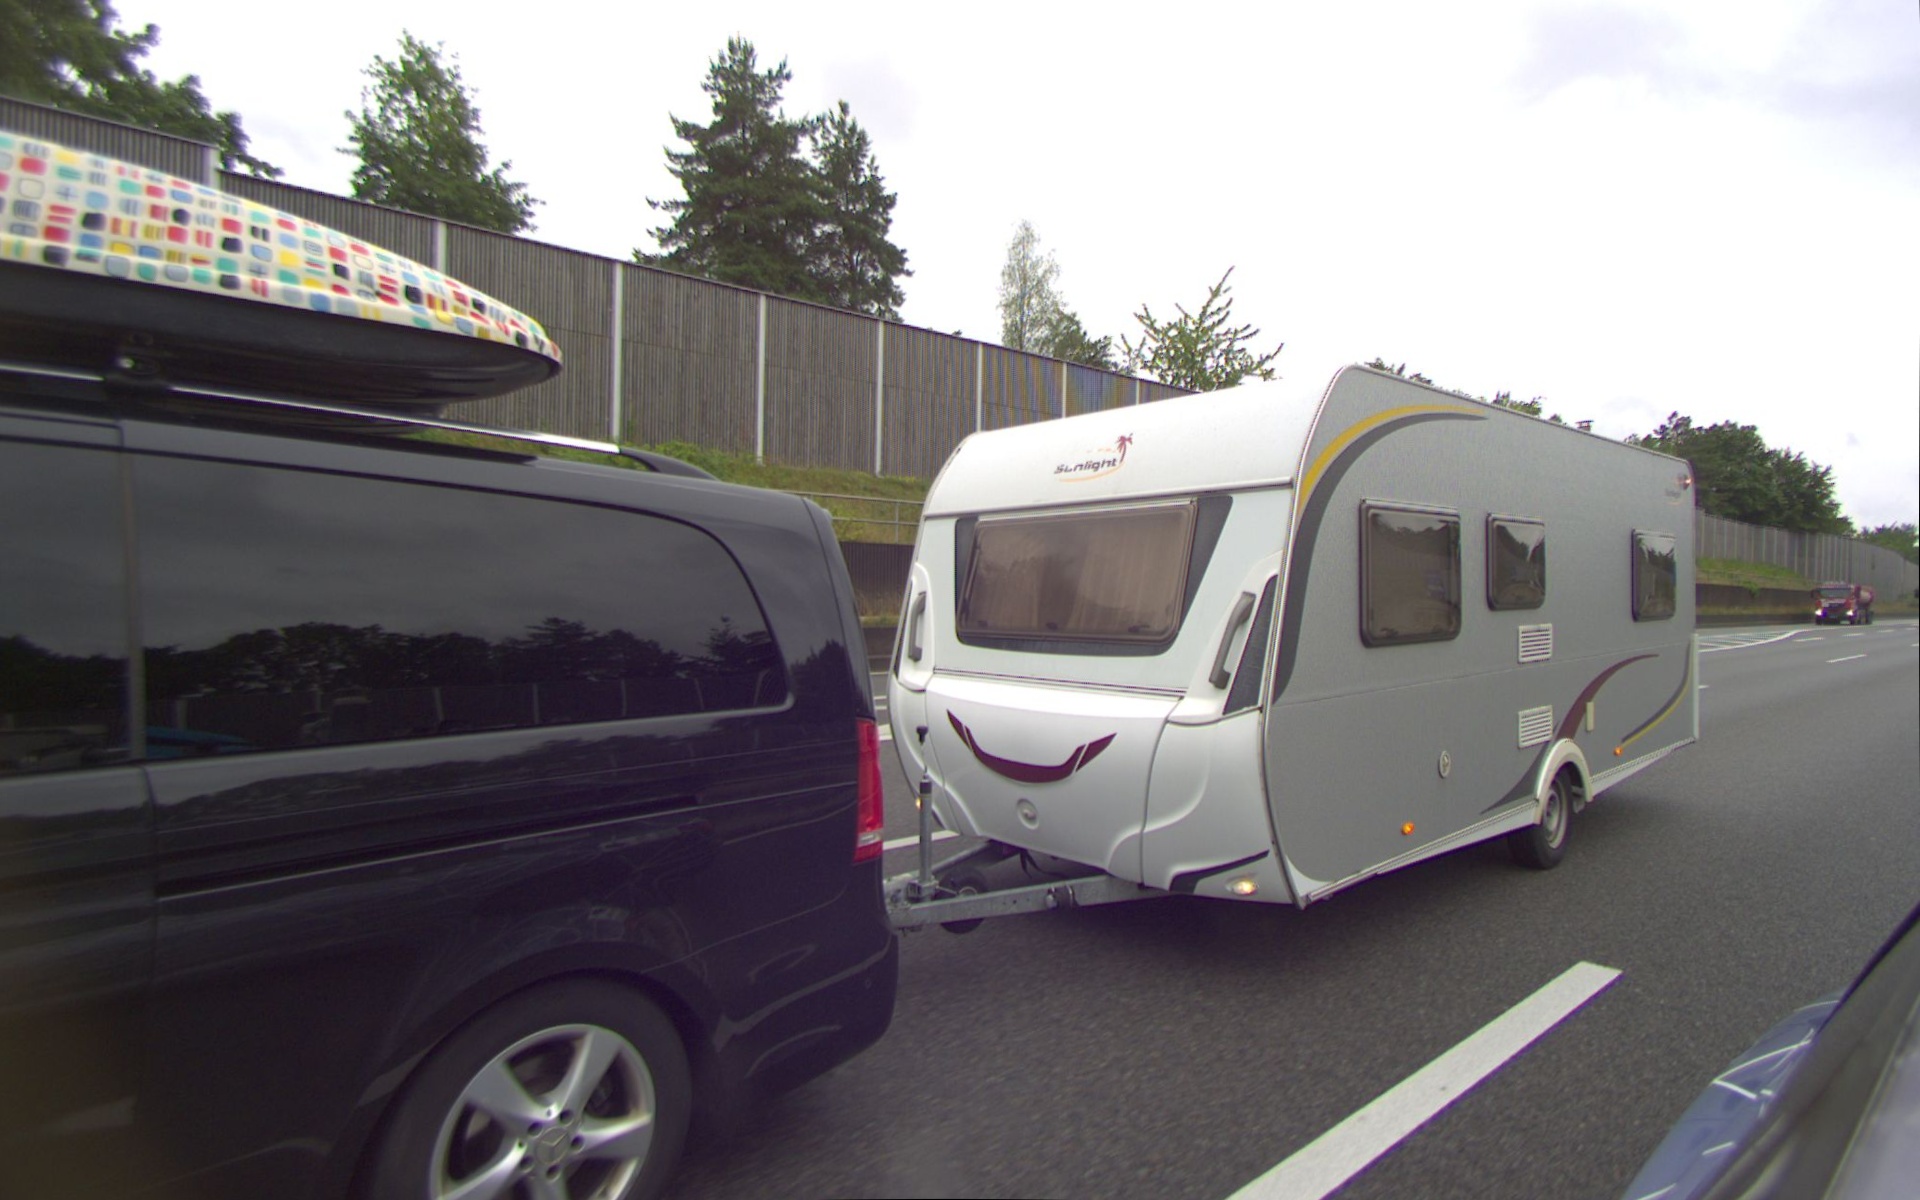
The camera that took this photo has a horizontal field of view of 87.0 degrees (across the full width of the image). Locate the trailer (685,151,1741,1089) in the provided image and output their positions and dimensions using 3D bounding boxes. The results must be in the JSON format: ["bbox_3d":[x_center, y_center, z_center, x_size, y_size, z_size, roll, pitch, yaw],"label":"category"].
[{"bbox_3d":[2.311,0.056,6.359,7.380,2.676,2.725,0,0,-41],"label":"trailer"}]

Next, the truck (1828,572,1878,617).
[{"bbox_3d":[70.934,-0.441,80.340,3.930,3.508,2.419,0,1,-41],"label":"truck"}]

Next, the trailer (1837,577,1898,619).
[{"bbox_3d":[75.447,-0.178,84.073,9.233,3.288,2.451,0,1,-40],"label":"trailer"}]

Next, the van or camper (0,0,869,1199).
[{"bbox_3d":[-2.941,0.238,1.407,5.580,2.298,1.894,0,0,-41],"label":"van or camper"}]
